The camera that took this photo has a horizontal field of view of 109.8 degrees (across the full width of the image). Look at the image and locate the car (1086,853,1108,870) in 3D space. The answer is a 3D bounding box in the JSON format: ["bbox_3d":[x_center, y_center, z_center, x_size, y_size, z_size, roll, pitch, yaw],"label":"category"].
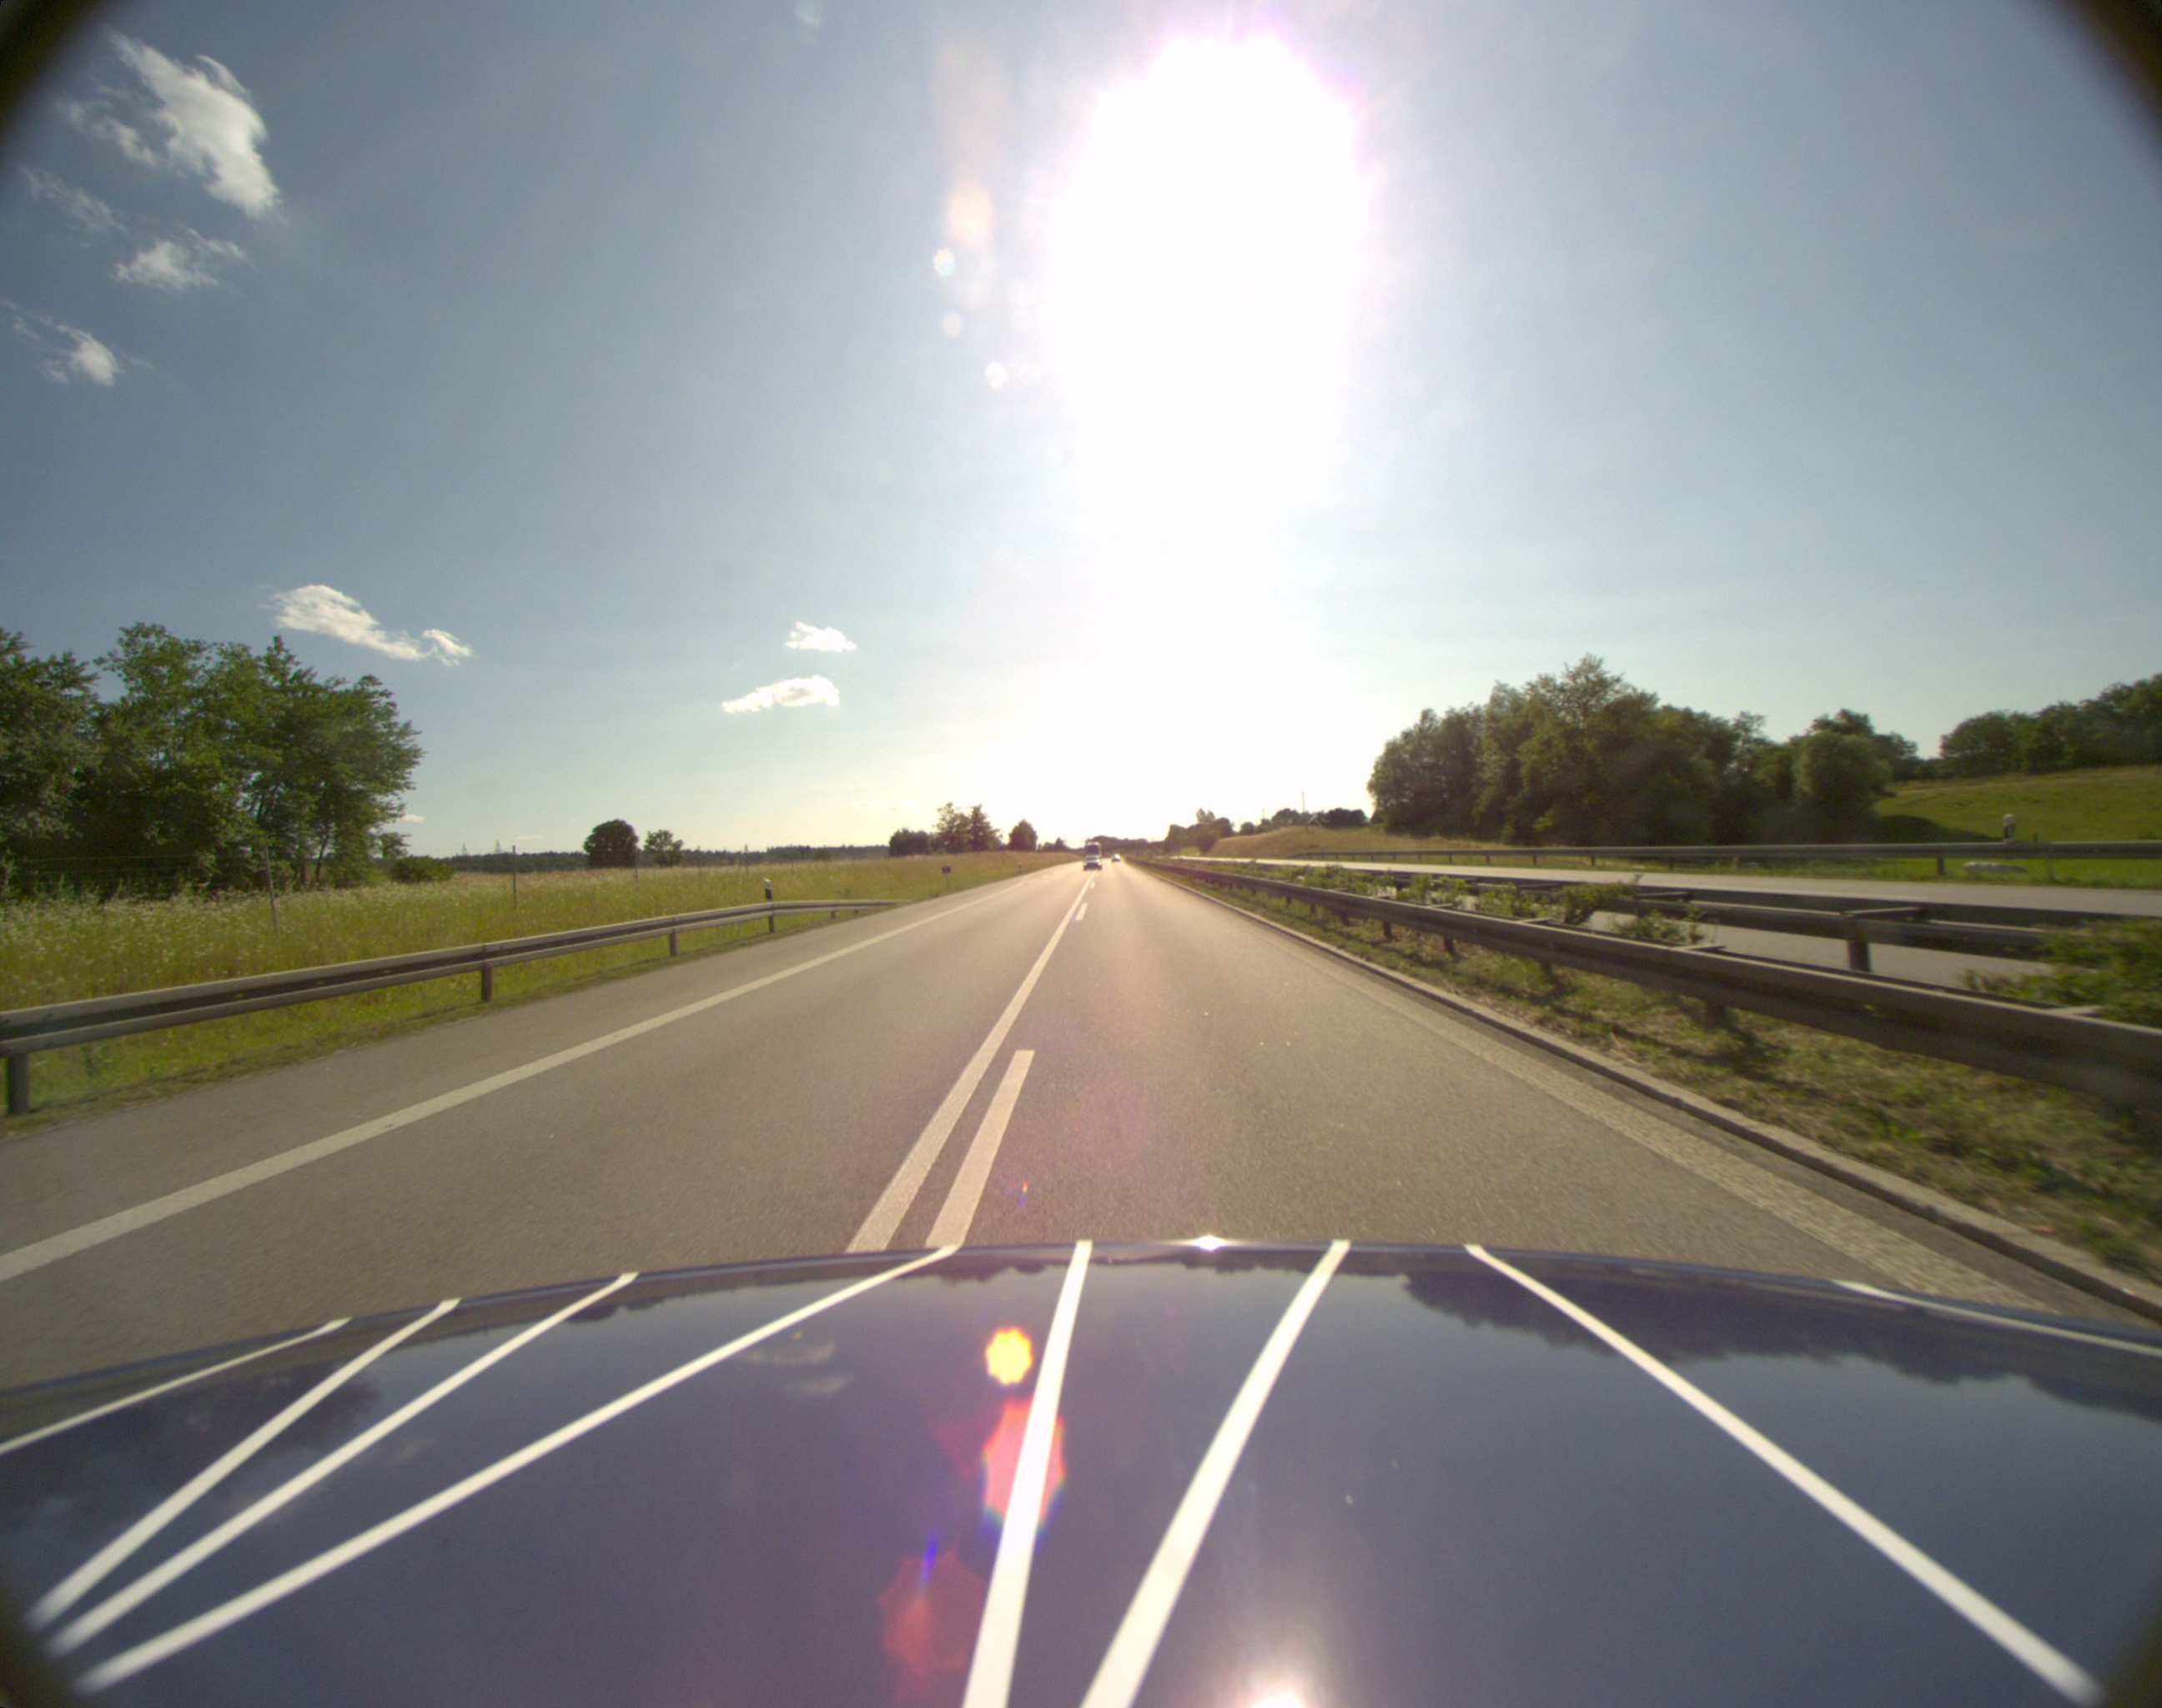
[{"bbox_3d":[1.541,0.715,72.153,1.870,1.514,4.284,-2,0,3],"label":"car"}]

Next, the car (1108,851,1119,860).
[{"bbox_3d":[6.154,0.250,143.745,1.998,1.652,4.001,-2,0,3],"label":"car"}]

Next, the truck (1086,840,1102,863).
[{"bbox_3d":[2.608,-0.562,149.572,2.536,4.228,11.266,-3,1,3],"label":"truck"}]
